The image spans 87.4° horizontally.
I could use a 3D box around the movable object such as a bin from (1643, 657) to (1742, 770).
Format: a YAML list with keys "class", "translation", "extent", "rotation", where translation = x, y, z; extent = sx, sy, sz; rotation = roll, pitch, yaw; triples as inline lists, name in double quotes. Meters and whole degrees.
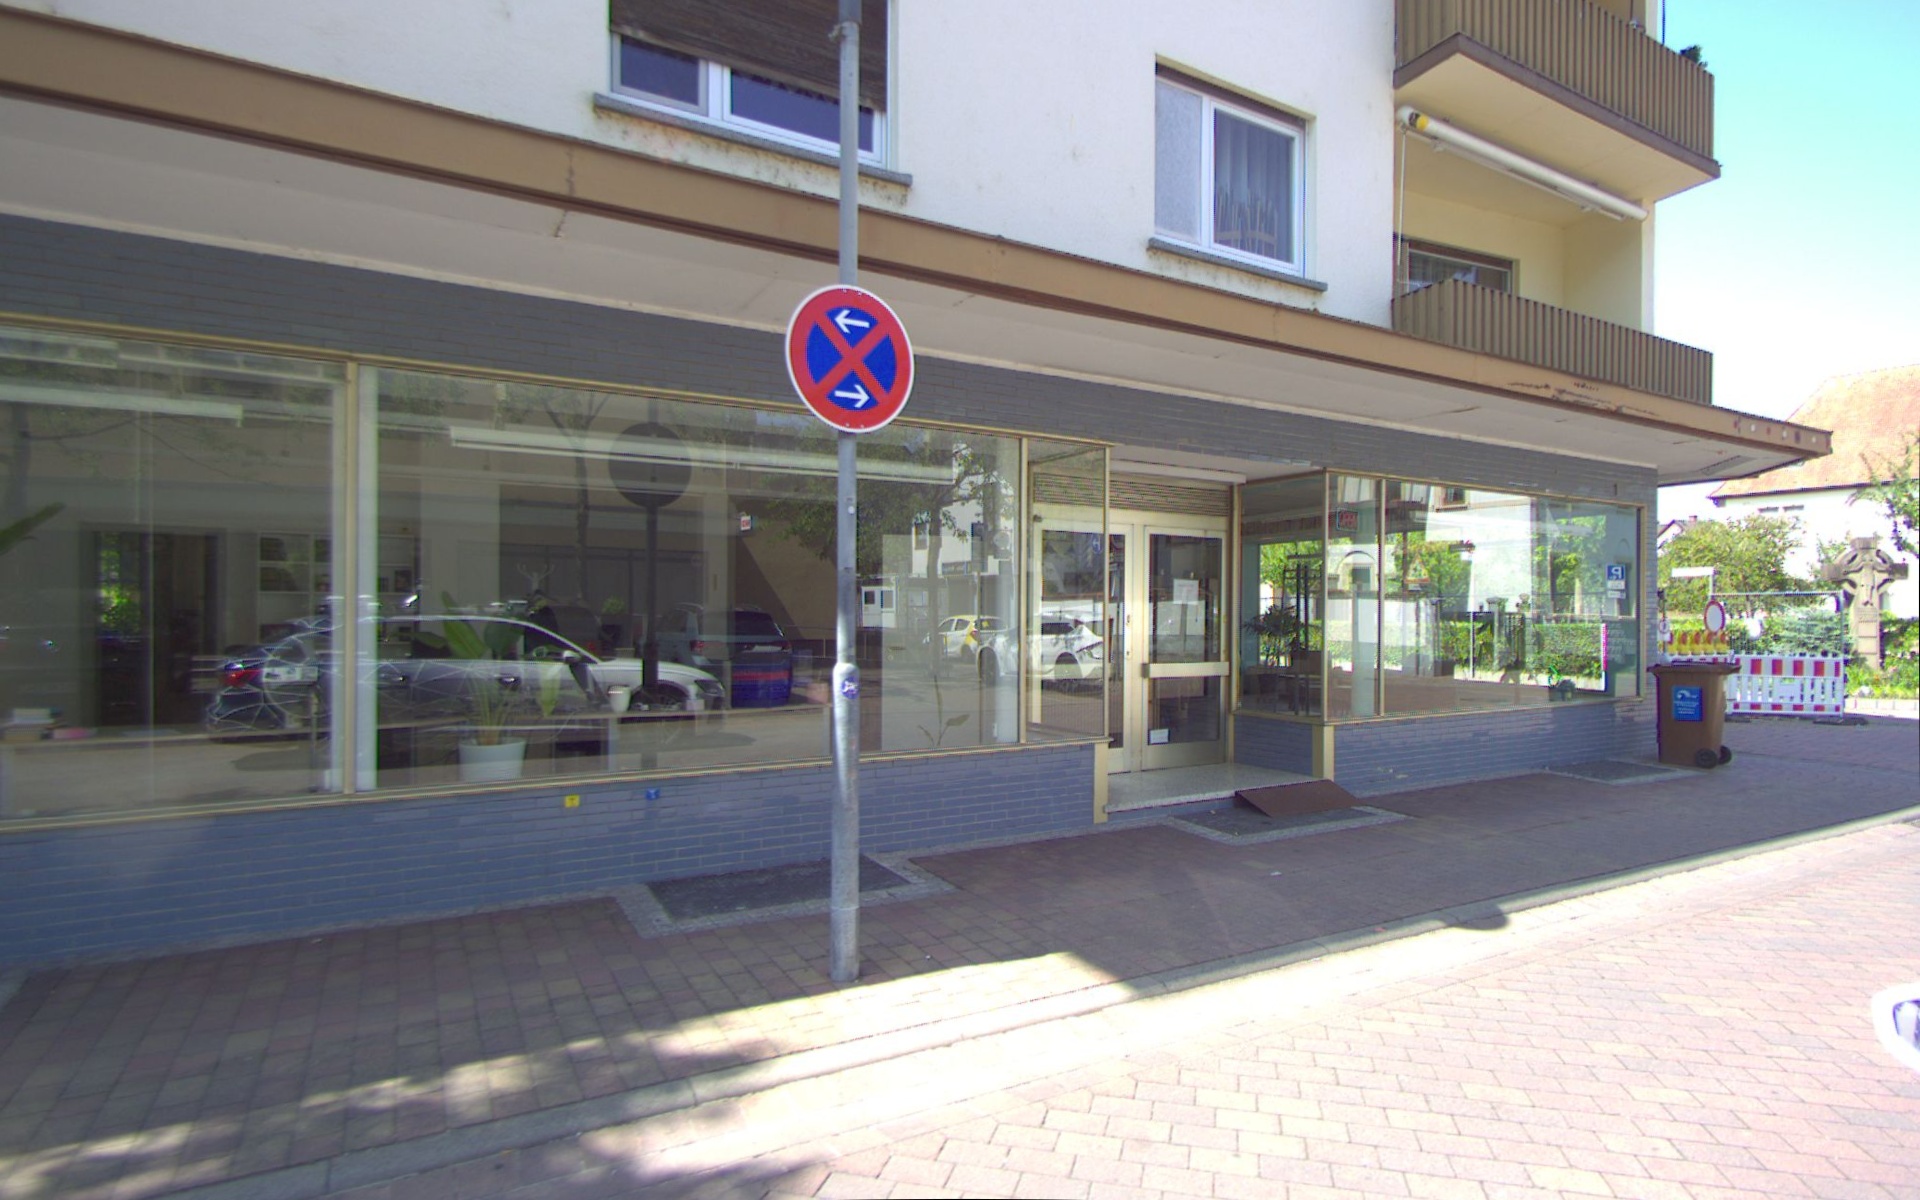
- class: "movable object such as a bin"
  translation: [7.618, 1.155, 10.451]
  extent: [0.657, 1.084, 0.650]
  rotation: [1, 0, -36]
